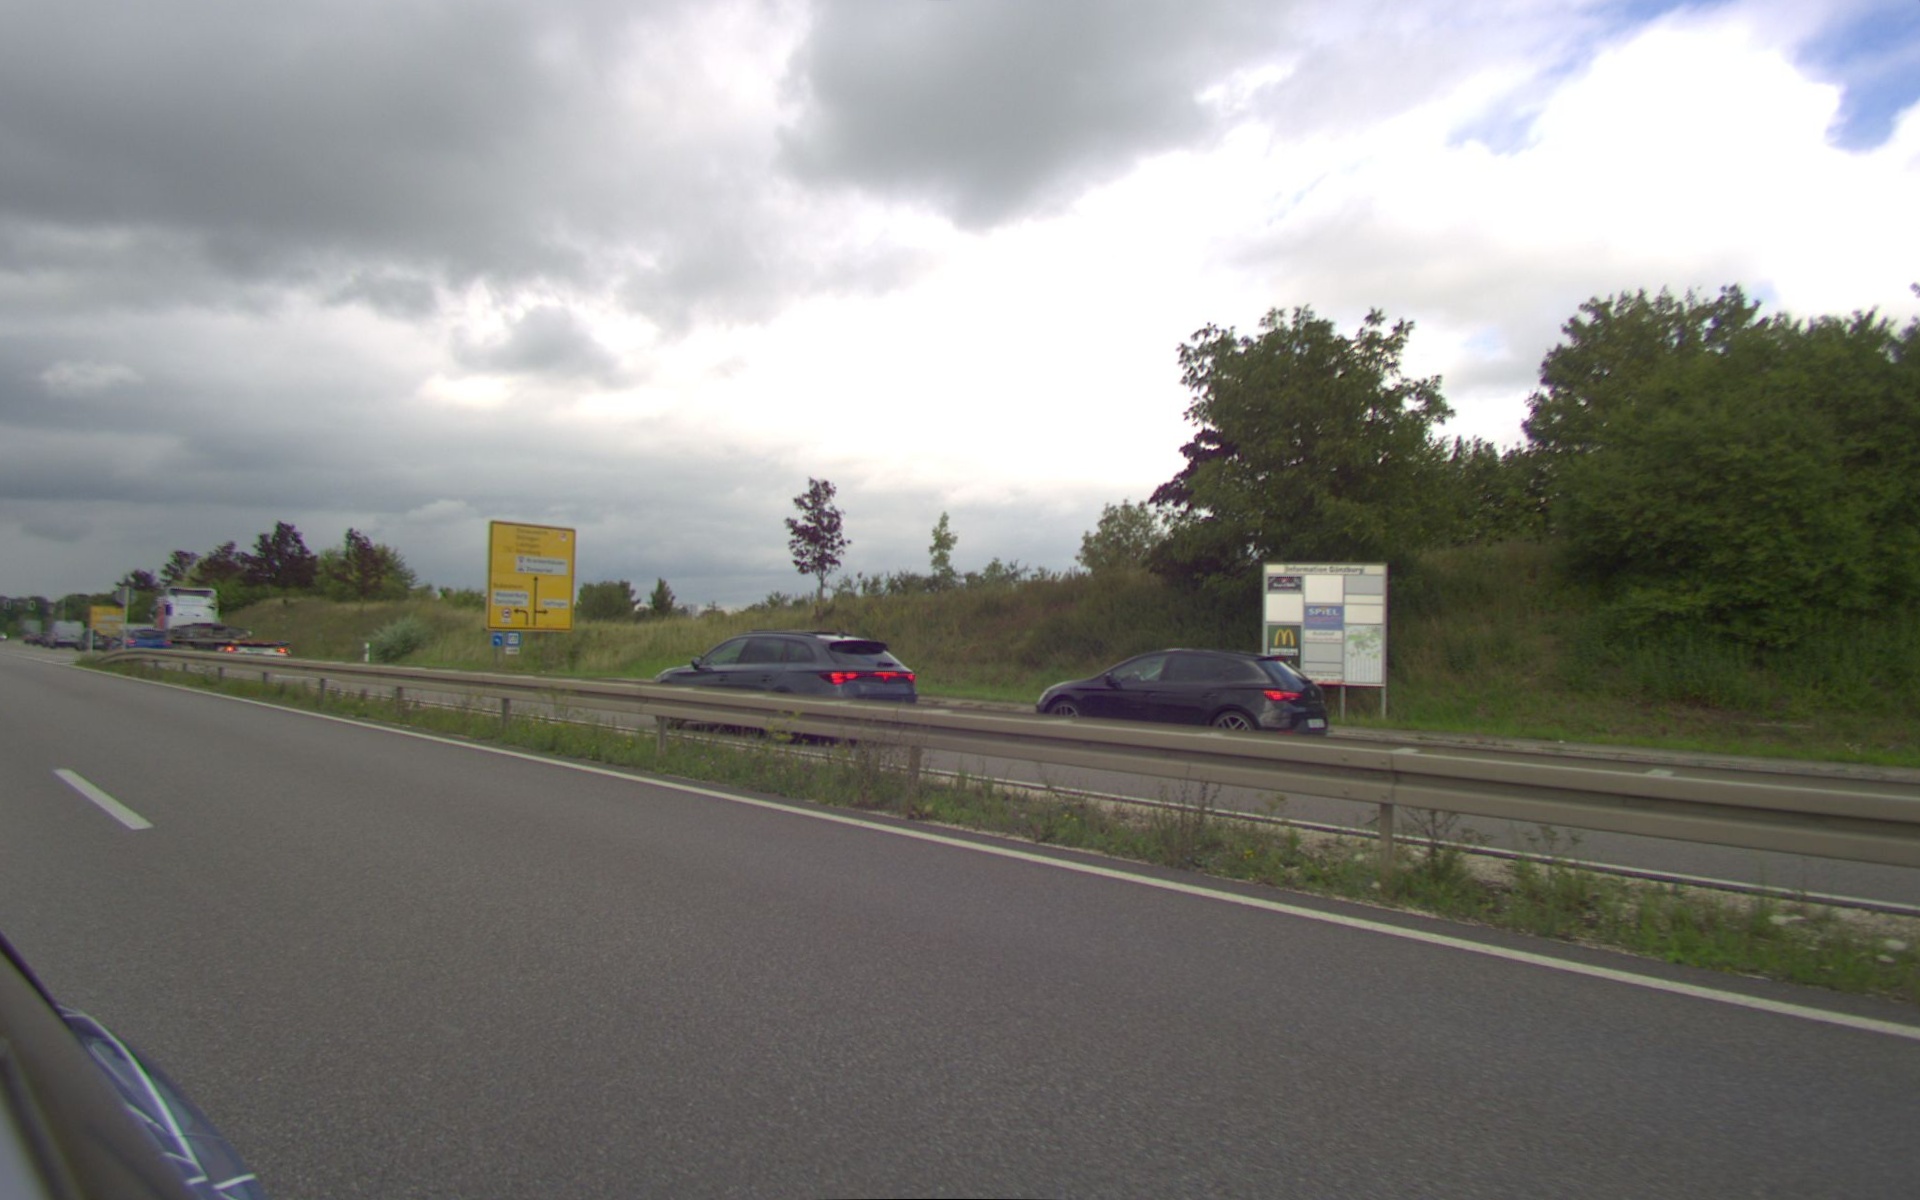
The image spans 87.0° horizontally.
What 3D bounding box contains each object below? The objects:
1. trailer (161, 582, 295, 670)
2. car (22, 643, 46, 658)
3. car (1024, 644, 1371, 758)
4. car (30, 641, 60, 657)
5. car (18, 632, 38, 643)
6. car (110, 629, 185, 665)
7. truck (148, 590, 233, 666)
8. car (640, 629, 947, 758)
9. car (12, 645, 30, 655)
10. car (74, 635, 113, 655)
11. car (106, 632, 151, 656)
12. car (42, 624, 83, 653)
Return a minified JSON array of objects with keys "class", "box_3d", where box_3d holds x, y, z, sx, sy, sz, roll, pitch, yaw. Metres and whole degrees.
[{"class":"trailer","box_3d":[-37.427,1.418,51.444,12.981,3.977,2.745,-2,-4,42]},{"class":"car","box_3d":[-111.787,6.109,122.121,4.517,1.647,1.774,-3,-6,44]},{"class":"car","box_3d":[3.132,1.276,14.001,4.415,1.334,1.673,-2,-4,42]},{"class":"car","box_3d":[-91.061,4.879,100.738,4.192,1.542,1.714,-2,-5,42]},{"class":"car","box_3d":[-130.911,5.261,142.159,4.707,1.523,1.774,-3,-6,44]},{"class":"car","box_3d":[-36.704,2.123,45.681,4.193,1.531,2.063,-2,-4,43]},{"class":"truck","box_3d":[-42.969,1.630,56.451,5.285,4.028,2.773,-2,-4,42]},{"class":"car","box_3d":[-2.435,1.187,14.010,4.575,1.497,1.735,-2,-4,42]},{"class":"car","box_3d":[-149.753,7.949,161.391,4.707,1.416,1.774,-3,-6,44]},{"class":"car","box_3d":[-68.440,3.556,79.896,4.547,1.542,1.714,-2,-5,42]},{"class":"car","box_3d":[-57.053,3.034,69.433,4.192,1.542,1.714,-2,-5,42]},{"class":"car","box_3d":[-80.561,3.489,90.793,5.634,2.458,2.011,-2,-5,42]}]
